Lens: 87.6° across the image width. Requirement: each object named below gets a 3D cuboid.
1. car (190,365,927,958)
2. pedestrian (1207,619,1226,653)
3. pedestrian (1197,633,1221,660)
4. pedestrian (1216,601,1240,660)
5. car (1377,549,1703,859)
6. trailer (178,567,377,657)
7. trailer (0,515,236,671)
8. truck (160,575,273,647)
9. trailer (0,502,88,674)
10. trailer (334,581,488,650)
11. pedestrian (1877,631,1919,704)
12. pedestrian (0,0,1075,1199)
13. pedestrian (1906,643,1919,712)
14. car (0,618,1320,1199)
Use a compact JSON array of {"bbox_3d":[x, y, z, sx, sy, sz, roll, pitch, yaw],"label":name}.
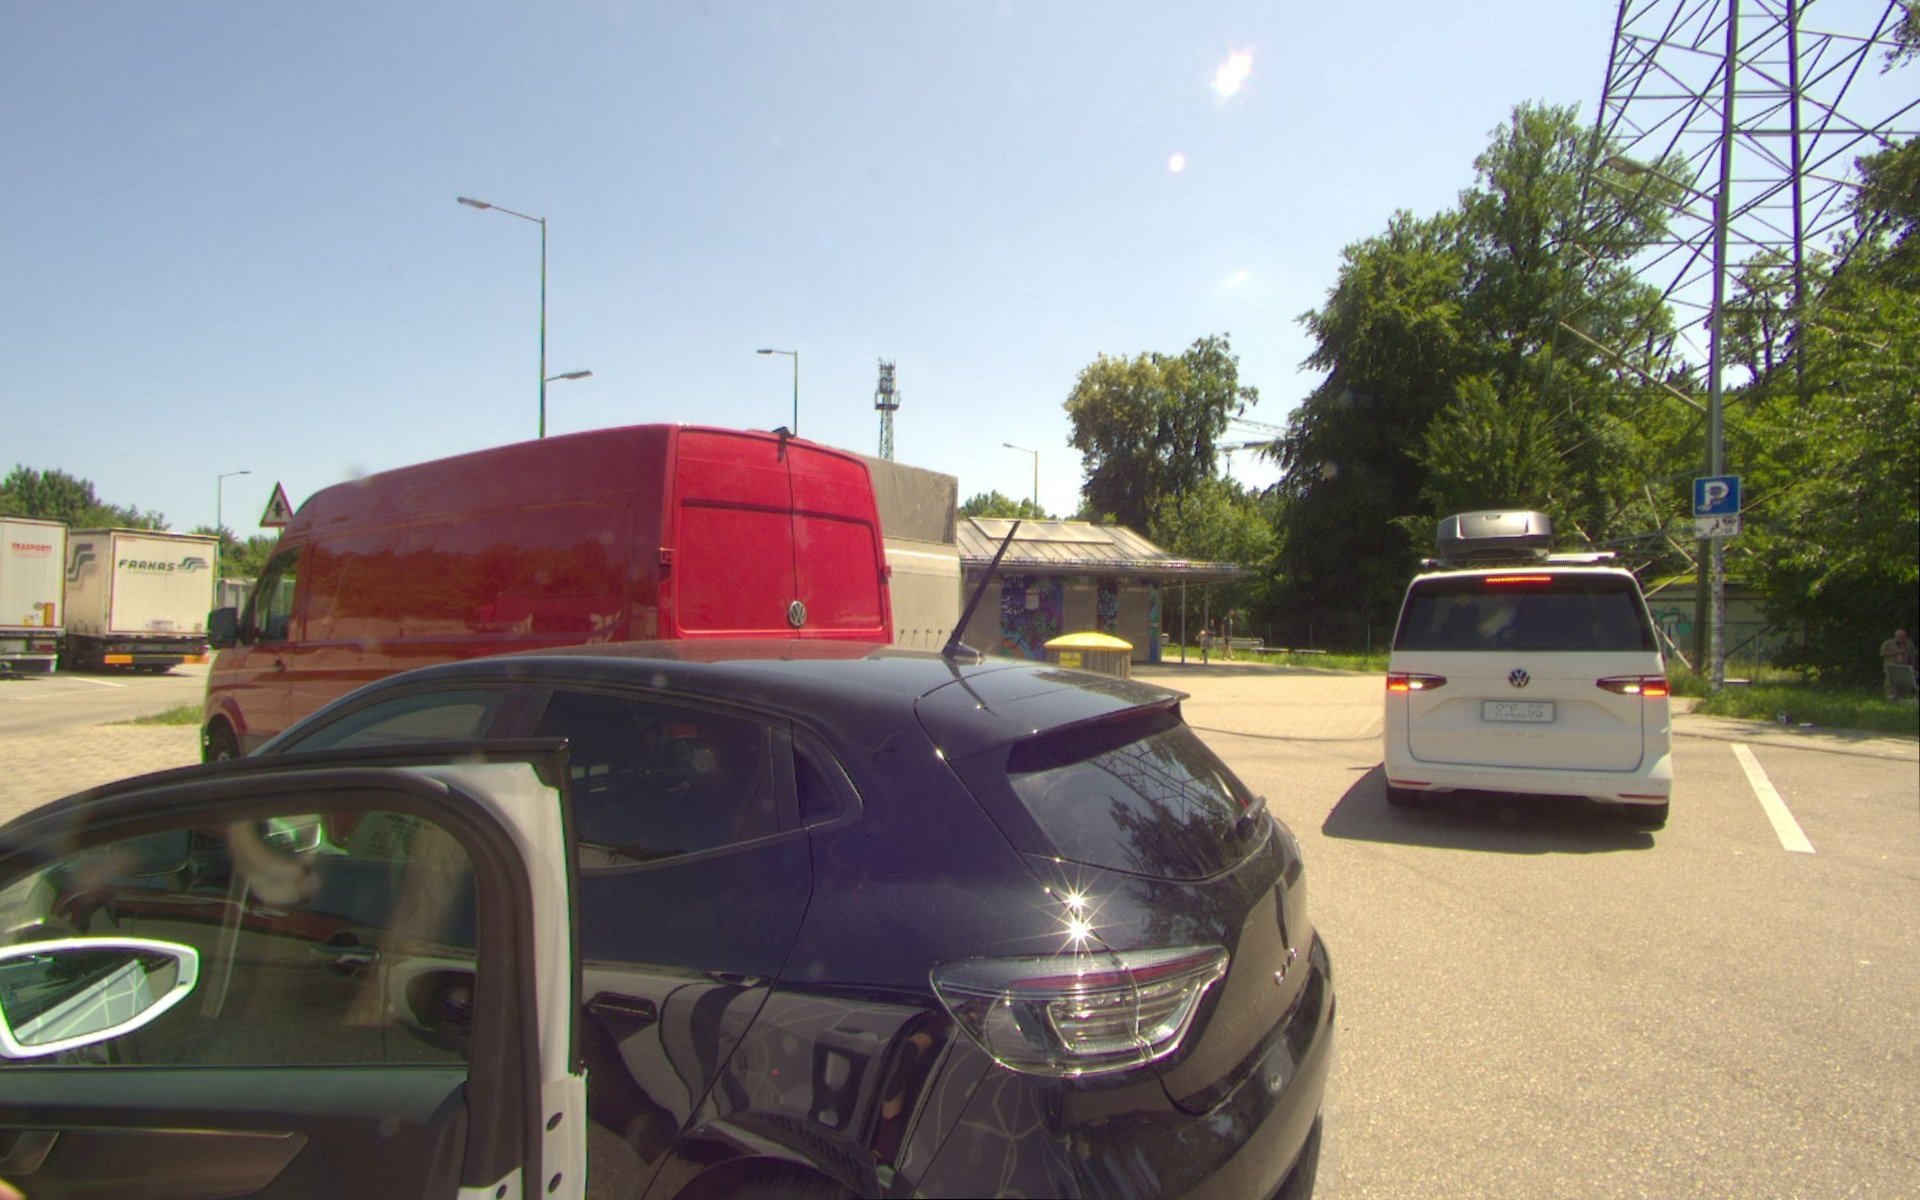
[{"bbox_3d":[-3.345,0.307,7.351,6.310,2.731,2.060,0,-1,37],"label":"car"},{"bbox_3d":[11.859,1.675,46.353,0.635,1.547,0.564,0,-1,-18],"label":"pedestrian"},{"bbox_3d":[8.835,1.640,35.505,0.764,0.960,0.645,-1,-1,20],"label":"pedestrian"},{"bbox_3d":[9.567,1.101,35.735,0.764,2.067,0.645,-1,-1,20],"label":"pedestrian"},{"bbox_3d":[4.854,0.705,8.738,1.882,1.937,4.547,-1,-1,27],"label":"car"},{"bbox_3d":[-32.376,0.466,47.134,13.530,3.764,2.834,1,-2,34],"label":"trailer"},{"bbox_3d":[-27.651,-0.204,31.623,13.523,4.185,2.835,1,-2,33],"label":"trailer"},{"bbox_3d":[-37.685,0.548,50.733,5.405,3.407,2.847,1,-2,34],"label":"truck"},{"bbox_3d":[-28.960,-0.382,28.142,13.523,4.185,2.835,1,-2,33],"label":"trailer"},{"bbox_3d":[-36.040,0.892,65.427,13.530,4.101,2.833,1,-2,34],"label":"trailer"},{"bbox_3d":[18.705,1.323,19.852,0.660,1.422,0.647,-1,-1,33],"label":"pedestrian"},{"bbox_3d":[-0.427,0.592,0.915,0.878,1.865,0.618,-1,-1,35],"label":"pedestrian"},{"bbox_3d":[17.198,1.355,17.470,0.876,1.192,0.666,-1,-2,32],"label":"pedestrian"},{"bbox_3d":[-1.054,0.834,2.900,3.757,1.501,1.736,0,-1,27],"label":"car"}]
